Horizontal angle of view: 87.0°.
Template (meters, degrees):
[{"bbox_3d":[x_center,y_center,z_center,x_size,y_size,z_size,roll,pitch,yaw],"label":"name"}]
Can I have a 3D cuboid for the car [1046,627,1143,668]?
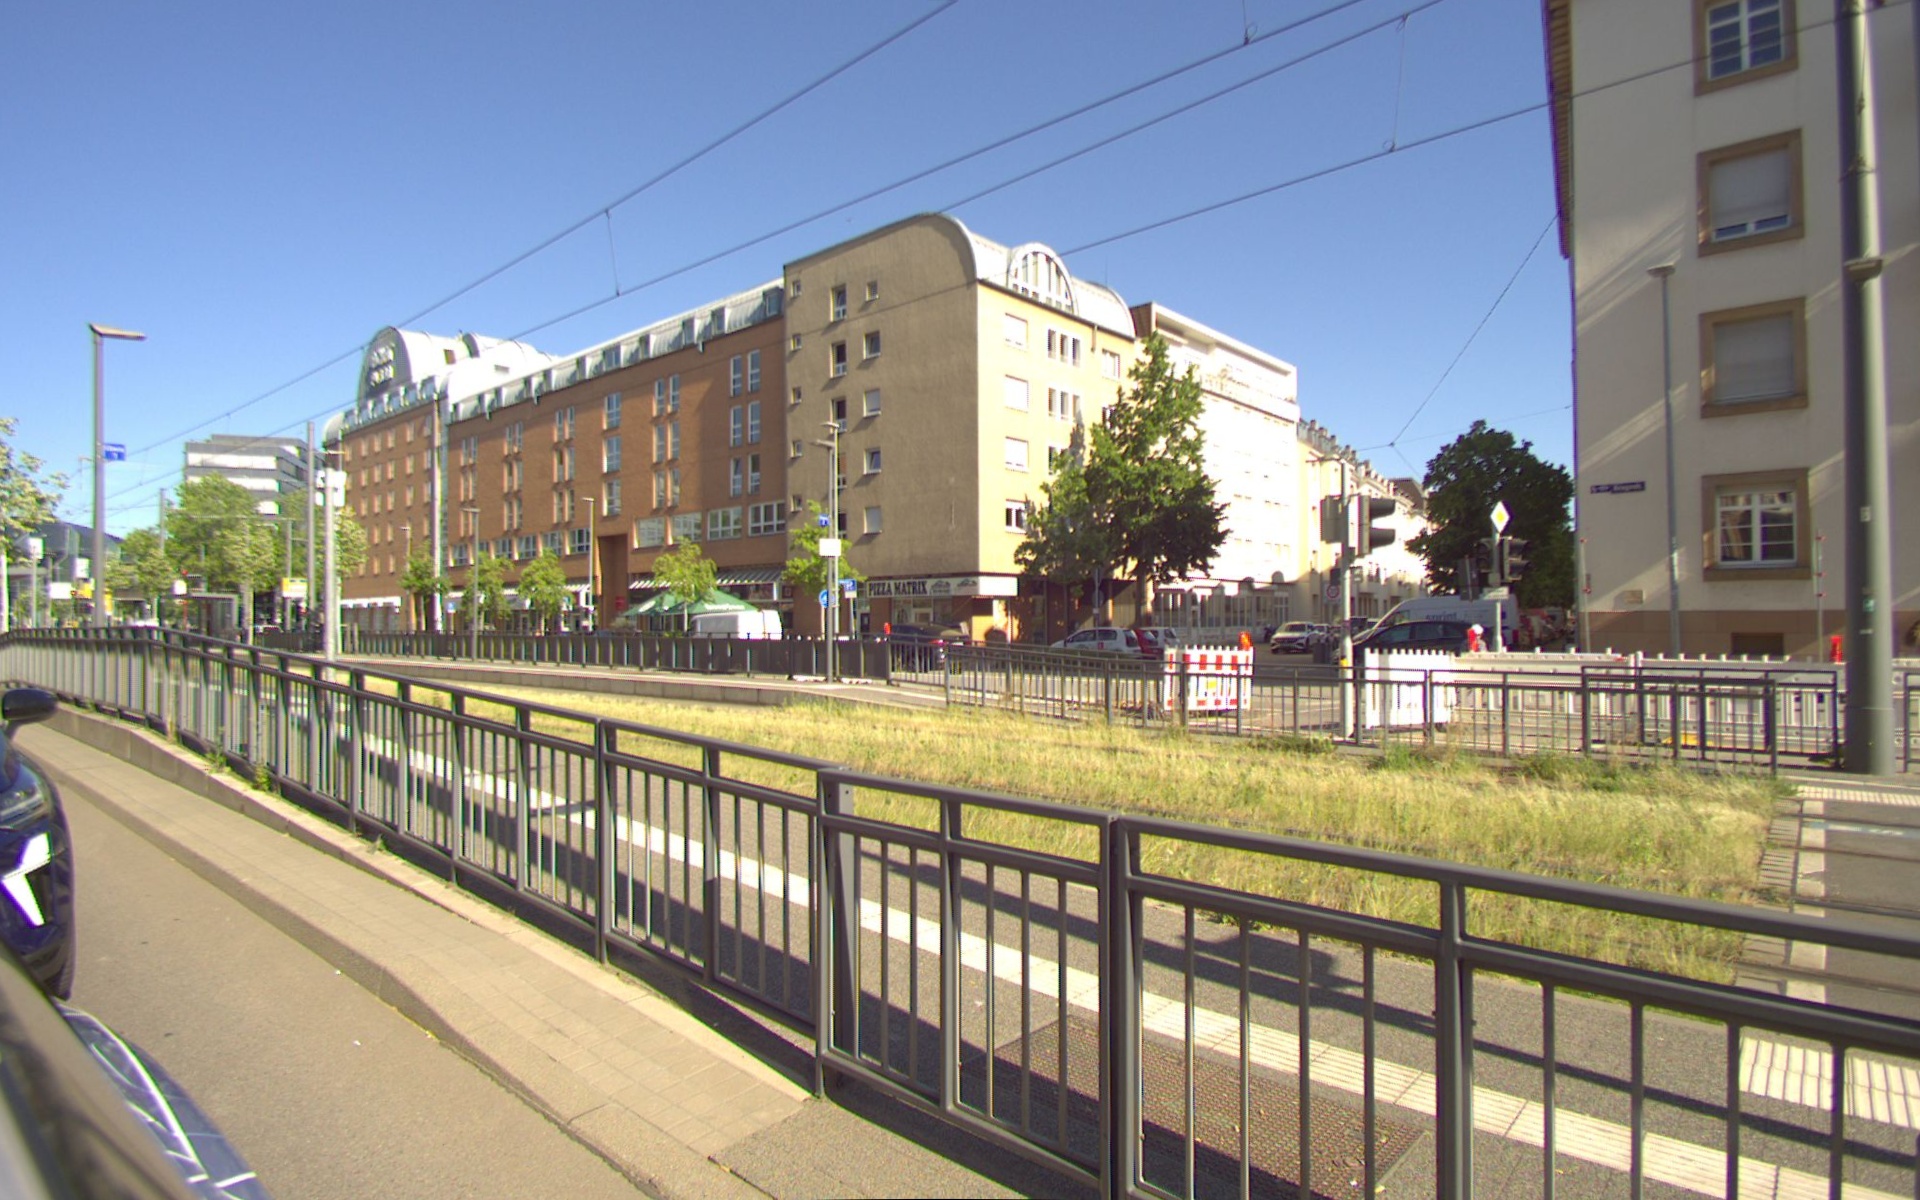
[{"bbox_3d":[5.090,1.766,38.364,3.334,1.438,1.424,-1,0,29],"label":"car"}]

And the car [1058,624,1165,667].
[{"bbox_3d":[6.021,1.780,40.388,3.955,1.564,1.457,-1,0,33],"label":"car"}]

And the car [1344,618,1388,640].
[{"bbox_3d":[28.276,2.018,70.446,1.995,1.473,4.137,-1,-2,34],"label":"car"}]

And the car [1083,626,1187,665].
[{"bbox_3d":[7.330,1.860,42.607,3.997,1.497,1.693,-1,0,40],"label":"car"}]

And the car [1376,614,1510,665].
[{"bbox_3d":[16.822,1.333,35.281,3.989,1.652,1.848,-1,0,33],"label":"car"}]

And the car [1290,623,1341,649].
[{"bbox_3d":[20.512,2.070,58.302,1.993,1.457,4.141,-1,-2,31],"label":"car"}]

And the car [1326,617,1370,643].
[{"bbox_3d":[25.290,1.989,65.877,1.993,1.630,4.141,-1,-2,31],"label":"car"}]

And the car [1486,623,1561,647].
[{"bbox_3d":[35.081,2.162,63.018,3.986,1.440,1.760,-1,0,32],"label":"car"}]

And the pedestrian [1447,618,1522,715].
[{"bbox_3d":[8.464,1.061,16.352,0.792,1.515,0.713,0,-2,-25],"label":"pedestrian"}]

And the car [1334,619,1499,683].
[{"bbox_3d":[12.968,1.387,28.829,3.994,1.652,1.846,-1,0,37],"label":"car"}]

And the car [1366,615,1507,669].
[{"bbox_3d":[15.697,1.349,33.393,3.989,1.652,1.848,-1,0,33],"label":"car"}]

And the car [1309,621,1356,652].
[{"bbox_3d":[22.794,2.206,61.829,1.839,1.730,4.033,-1,0,34],"label":"car"}]

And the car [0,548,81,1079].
[{"bbox_3d":[-5.017,0.716,3.982,4.418,1.597,1.736,-2,1,41],"label":"car"}]

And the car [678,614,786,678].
[{"bbox_3d":[-9.091,1.739,40.017,1.969,2.314,5.197,-1,0,-41],"label":"car"}]

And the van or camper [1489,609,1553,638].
[{"bbox_3d":[44.798,1.883,80.817,4.332,2.231,1.931,-1,0,32],"label":"van or camper"}]

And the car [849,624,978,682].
[{"bbox_3d":[-1.513,1.613,32.054,3.996,1.652,1.677,-1,0,39],"label":"car"}]

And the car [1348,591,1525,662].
[{"bbox_3d":[17.643,0.962,37.592,5.737,2.473,1.979,-1,0,32],"label":"car"}]

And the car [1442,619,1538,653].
[{"bbox_3d":[25.747,1.710,49.202,3.988,1.567,1.848,-1,0,33],"label":"car"}]

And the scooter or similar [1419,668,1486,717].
[{"bbox_3d":[7.799,1.455,16.044,0.597,0.725,0.713,0,-2,-20],"label":"scooter or similar"}]

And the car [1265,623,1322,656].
[{"bbox_3d":[17.732,2.086,53.721,1.993,1.630,4.141,-1,-2,31],"label":"car"}]
